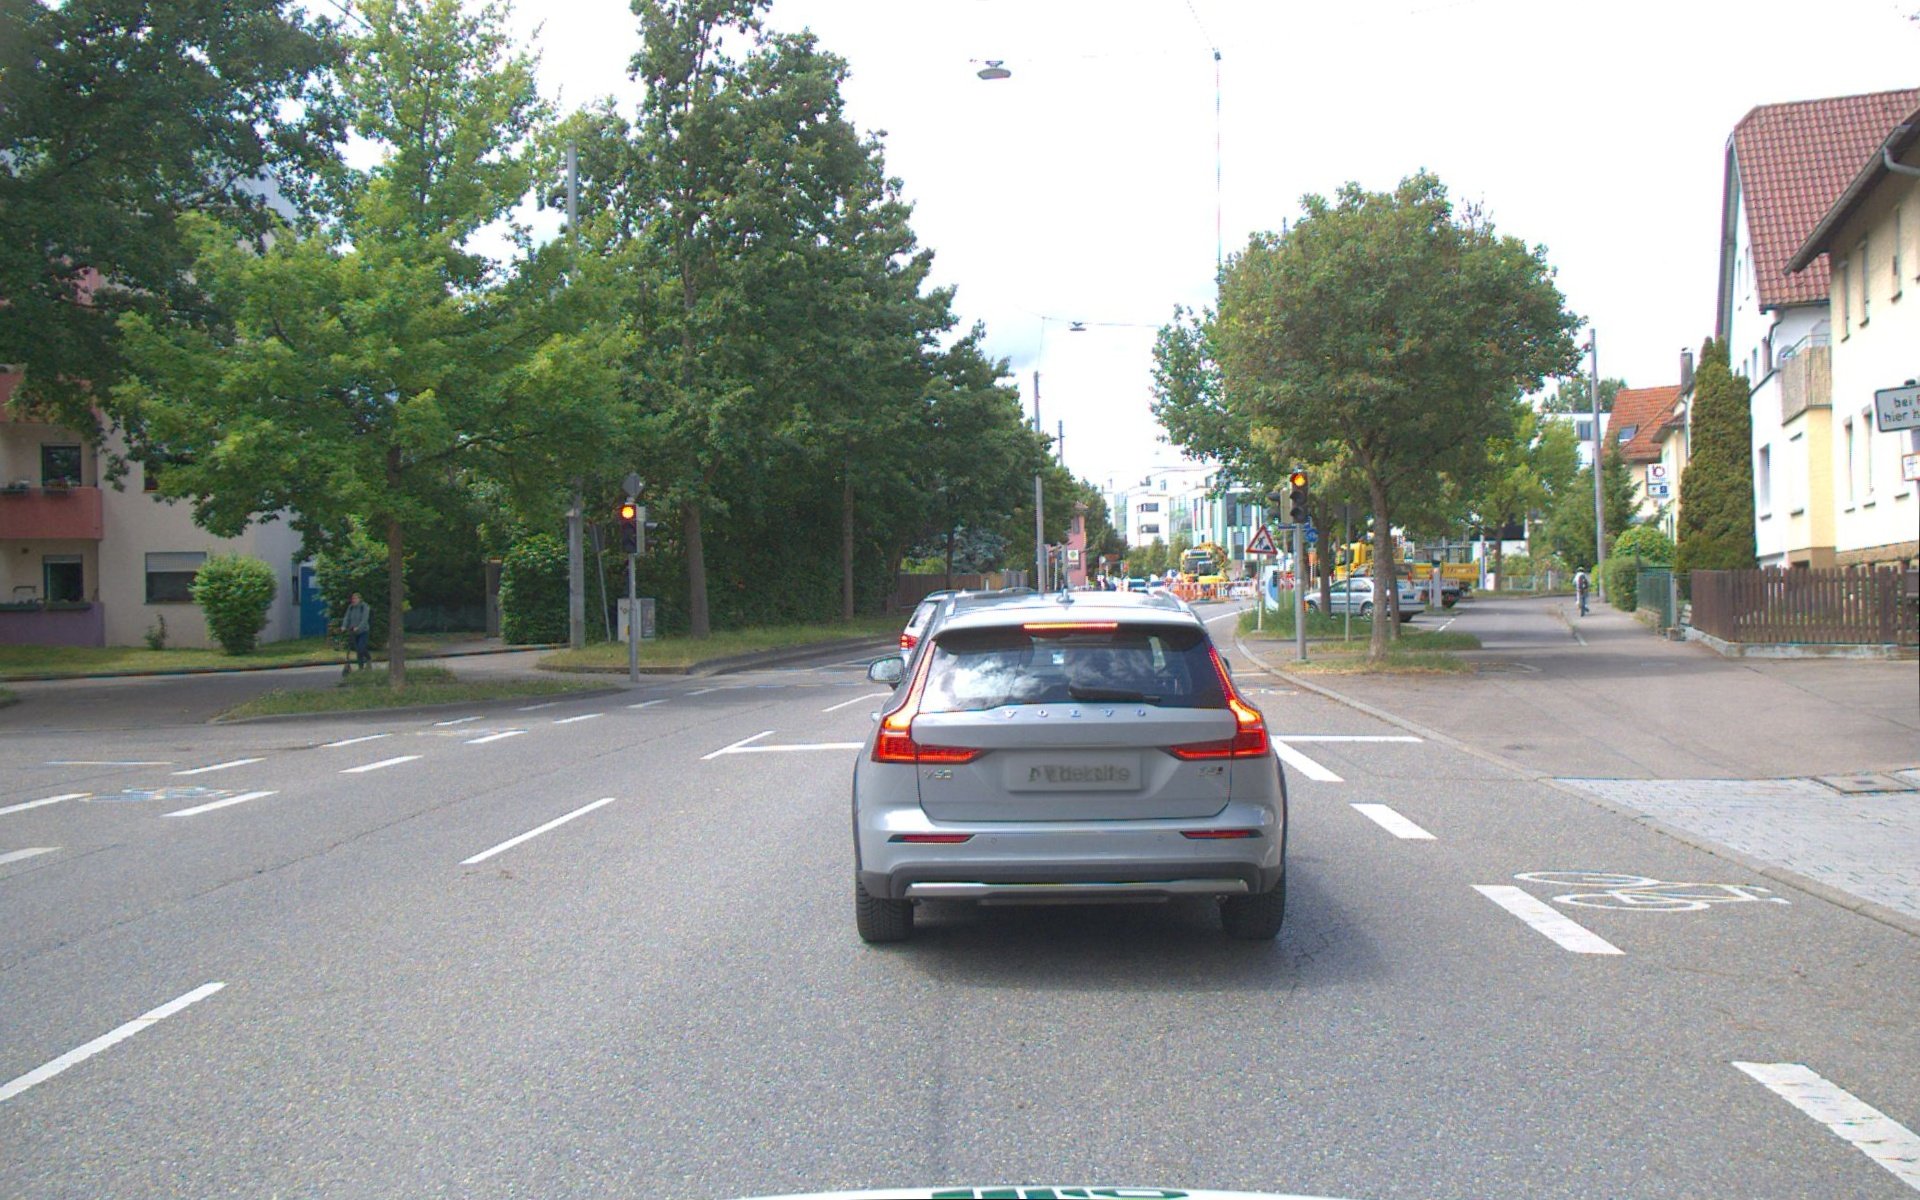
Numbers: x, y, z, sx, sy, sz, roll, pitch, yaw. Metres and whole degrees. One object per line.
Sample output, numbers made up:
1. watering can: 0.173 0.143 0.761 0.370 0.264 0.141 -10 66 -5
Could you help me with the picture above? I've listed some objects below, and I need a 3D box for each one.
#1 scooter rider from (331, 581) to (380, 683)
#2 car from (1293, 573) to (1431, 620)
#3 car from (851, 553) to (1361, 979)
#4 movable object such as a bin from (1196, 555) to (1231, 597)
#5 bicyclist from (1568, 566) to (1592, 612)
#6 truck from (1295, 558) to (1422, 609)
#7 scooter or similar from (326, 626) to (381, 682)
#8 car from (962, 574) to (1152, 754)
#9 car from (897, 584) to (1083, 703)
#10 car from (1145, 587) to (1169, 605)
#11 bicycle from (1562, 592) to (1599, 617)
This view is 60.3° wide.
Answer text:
1. scooter rider: -12.291 0.645 33.651 0.662 2.049 0.794 1 -1 -1
2. car: 13.348 -0.144 55.183 1.745 1.477 4.638 -1 1 -32
3. car: 0.505 0.619 8.115 1.889 1.567 3.999 0 0 -1
4. movable object such as a bin: 16.893 -1.591 110.144 1.991 2.689 5.945 -2 1 11
5. bicyclist: 21.468 -0.379 57.297 0.577 1.586 0.566 1 -1 -1
6. truck: 16.765 -0.675 69.894 1.971 2.049 5.624 1 0 -28
7. scooter or similar: -12.329 1.093 33.646 0.741 1.102 0.944 1 0 -1
8. car: 0.925 0.570 16.320 1.627 1.534 3.703 1 0 2
9. car: 0.533 0.582 23.735 2.057 1.536 4.003 0 0 10
10. car: 16.318 -0.311 136.580 1.789 1.353 4.003 1 -1 9
11. bicycle: 21.465 0.143 57.224 0.582 0.826 1.753 1 0 -1
